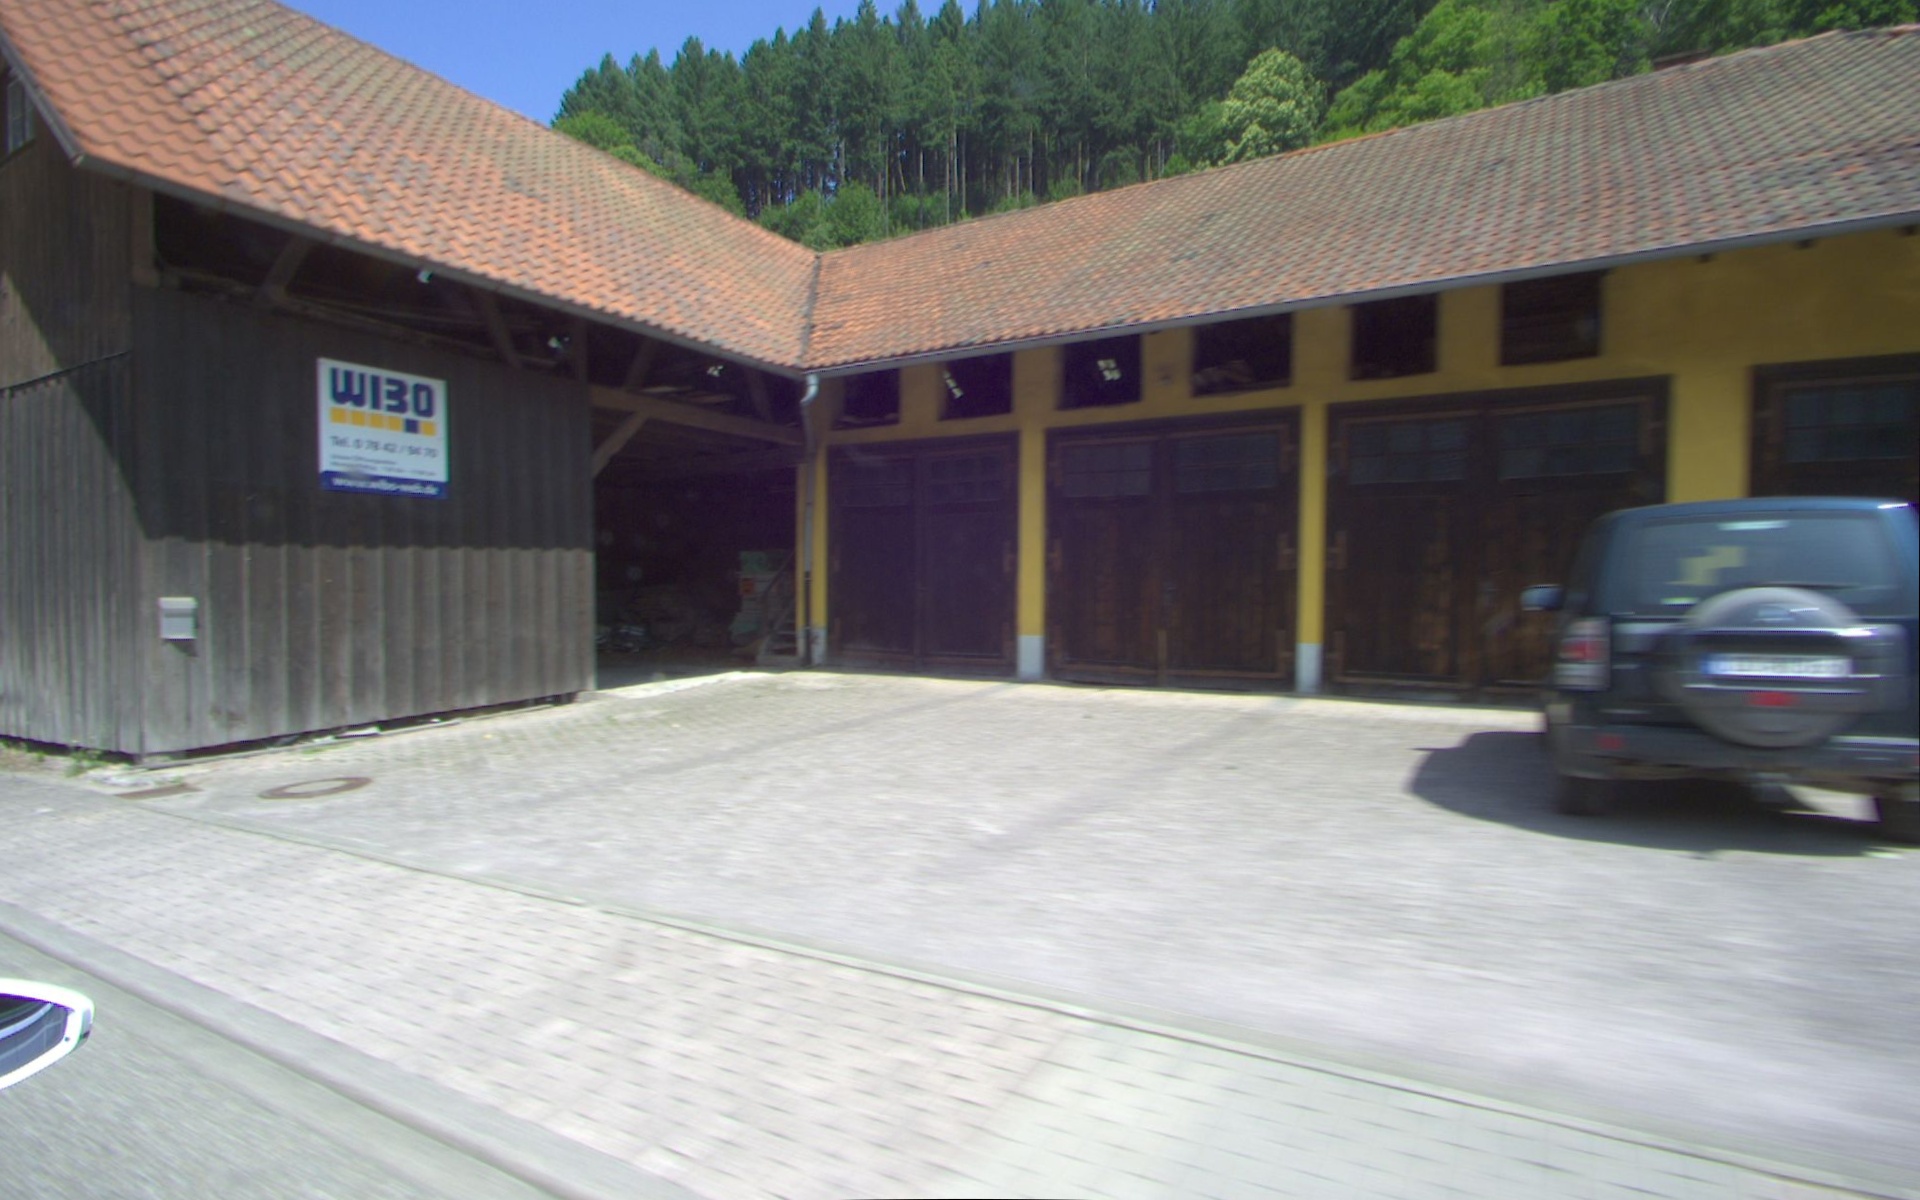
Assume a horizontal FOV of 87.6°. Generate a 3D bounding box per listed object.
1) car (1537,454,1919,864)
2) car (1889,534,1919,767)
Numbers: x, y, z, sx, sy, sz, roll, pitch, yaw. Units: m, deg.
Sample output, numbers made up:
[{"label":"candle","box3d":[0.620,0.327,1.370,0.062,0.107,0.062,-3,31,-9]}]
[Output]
[{"label":"car","box3d":[4.949,0.240,6.551,1.924,1.857,4.121,-1,1,29]},{"label":"car","box3d":[7.466,0.401,5.758,1.922,1.783,4.416,-1,1,26]}]
